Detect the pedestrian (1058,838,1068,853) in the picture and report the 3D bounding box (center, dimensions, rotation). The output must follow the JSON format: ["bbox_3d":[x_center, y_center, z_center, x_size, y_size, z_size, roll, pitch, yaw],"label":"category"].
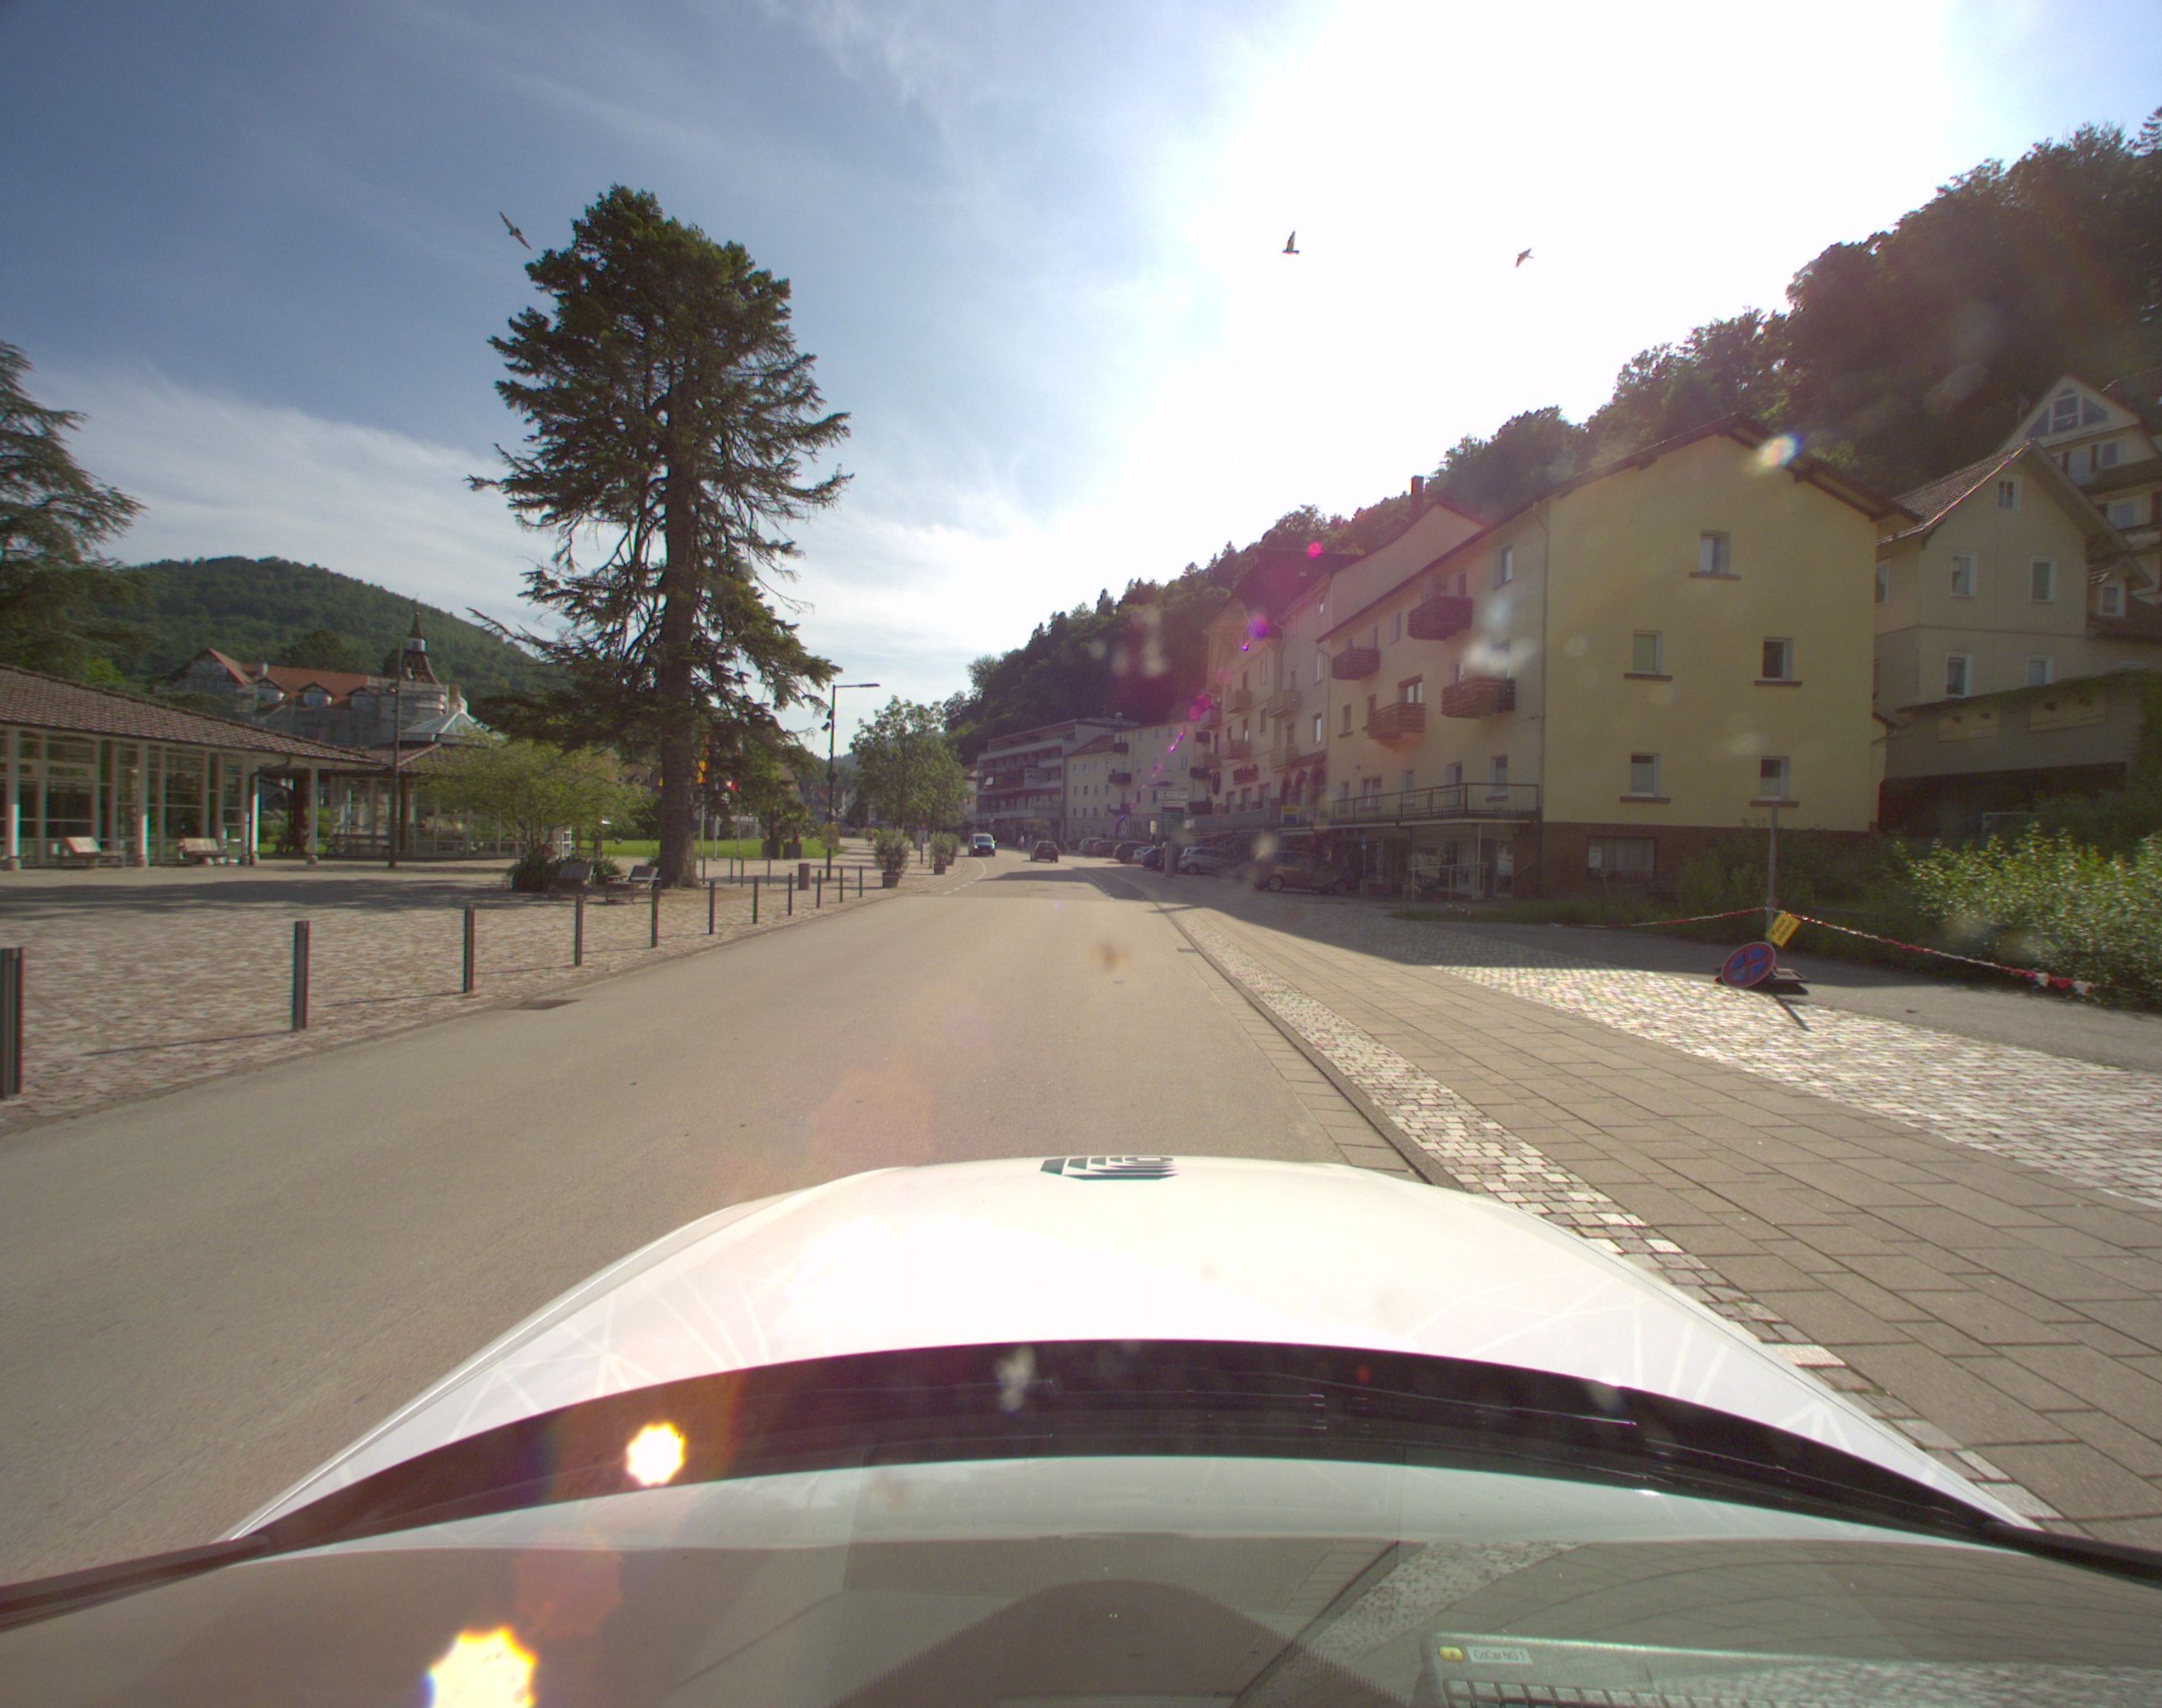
[{"bbox_3d":[-1.719,-0.787,77.500,0.740,1.442,0.626,-1,2,-34],"label":"pedestrian"}]

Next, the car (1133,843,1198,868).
[{"bbox_3d":[5.932,0.109,57.296,4.345,1.461,1.771,3,-1,-2],"label":"car"}]

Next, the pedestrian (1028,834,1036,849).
[{"bbox_3d":[-5.459,-1.392,91.223,0.672,1.728,0.701,2,1,-26],"label":"pedestrian"}]

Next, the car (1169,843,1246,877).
[{"bbox_3d":[7.003,0.339,45.294,3.902,1.589,1.773,4,1,-4],"label":"car"}]

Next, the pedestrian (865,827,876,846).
[{"bbox_3d":[-20.546,-1.749,79.597,0.871,1.815,0.685,2,1,-25],"label":"pedestrian"}]

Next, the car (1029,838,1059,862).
[{"bbox_3d":[-2.791,-0.292,60.784,1.727,1.574,3.742,2,2,-9],"label":"car"}]

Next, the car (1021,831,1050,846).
[{"bbox_3d":[-5.630,-1.901,99.943,3.178,1.662,1.582,1,1,-25],"label":"car"}]

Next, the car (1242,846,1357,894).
[{"bbox_3d":[8.424,0.614,31.524,3.855,1.554,1.757,4,1,-7],"label":"car"}]

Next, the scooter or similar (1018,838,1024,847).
[{"bbox_3d":[-6.729,-1.305,91.466,0.599,0.950,0.470,2,1,-27],"label":"scooter or similar"}]

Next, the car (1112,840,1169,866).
[{"bbox_3d":[4.507,-0.110,62.146,4.076,1.665,1.770,4,1,-4],"label":"car"}]

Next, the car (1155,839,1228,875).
[{"bbox_3d":[6.477,0.163,48.000,3.901,1.804,1.855,4,0,-4],"label":"car"}]

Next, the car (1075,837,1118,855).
[{"bbox_3d":[1.489,-0.828,80.131,3.879,1.612,1.759,-2,3,-24],"label":"car"}]

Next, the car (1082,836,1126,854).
[{"bbox_3d":[2.180,-0.855,77.306,3.879,1.549,1.759,-2,3,-24],"label":"car"}]

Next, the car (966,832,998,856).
[{"bbox_3d":[-8.546,-0.888,69.714,1.860,1.953,4.988,0,1,-18],"label":"car"}]

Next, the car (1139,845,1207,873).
[{"bbox_3d":[5.734,0.288,50.800,3.901,1.460,1.734,4,1,-4],"label":"car"}]

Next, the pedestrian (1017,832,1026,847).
[{"bbox_3d":[-6.635,-1.618,91.301,0.761,1.593,0.623,2,1,-26],"label":"pedestrian"}]

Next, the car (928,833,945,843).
[{"bbox_3d":[-25.187,-2.861,142.050,1.686,1.620,3.964,2,1,-28],"label":"car"}]

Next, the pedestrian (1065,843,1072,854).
[{"bbox_3d":[-1.208,-0.556,77.735,0.420,1.002,0.525,-1,2,-36],"label":"pedestrian"}]

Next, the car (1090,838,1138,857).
[{"bbox_3d":[3.029,-0.598,73.931,4.028,1.516,1.759,-2,3,-24],"label":"car"}]
